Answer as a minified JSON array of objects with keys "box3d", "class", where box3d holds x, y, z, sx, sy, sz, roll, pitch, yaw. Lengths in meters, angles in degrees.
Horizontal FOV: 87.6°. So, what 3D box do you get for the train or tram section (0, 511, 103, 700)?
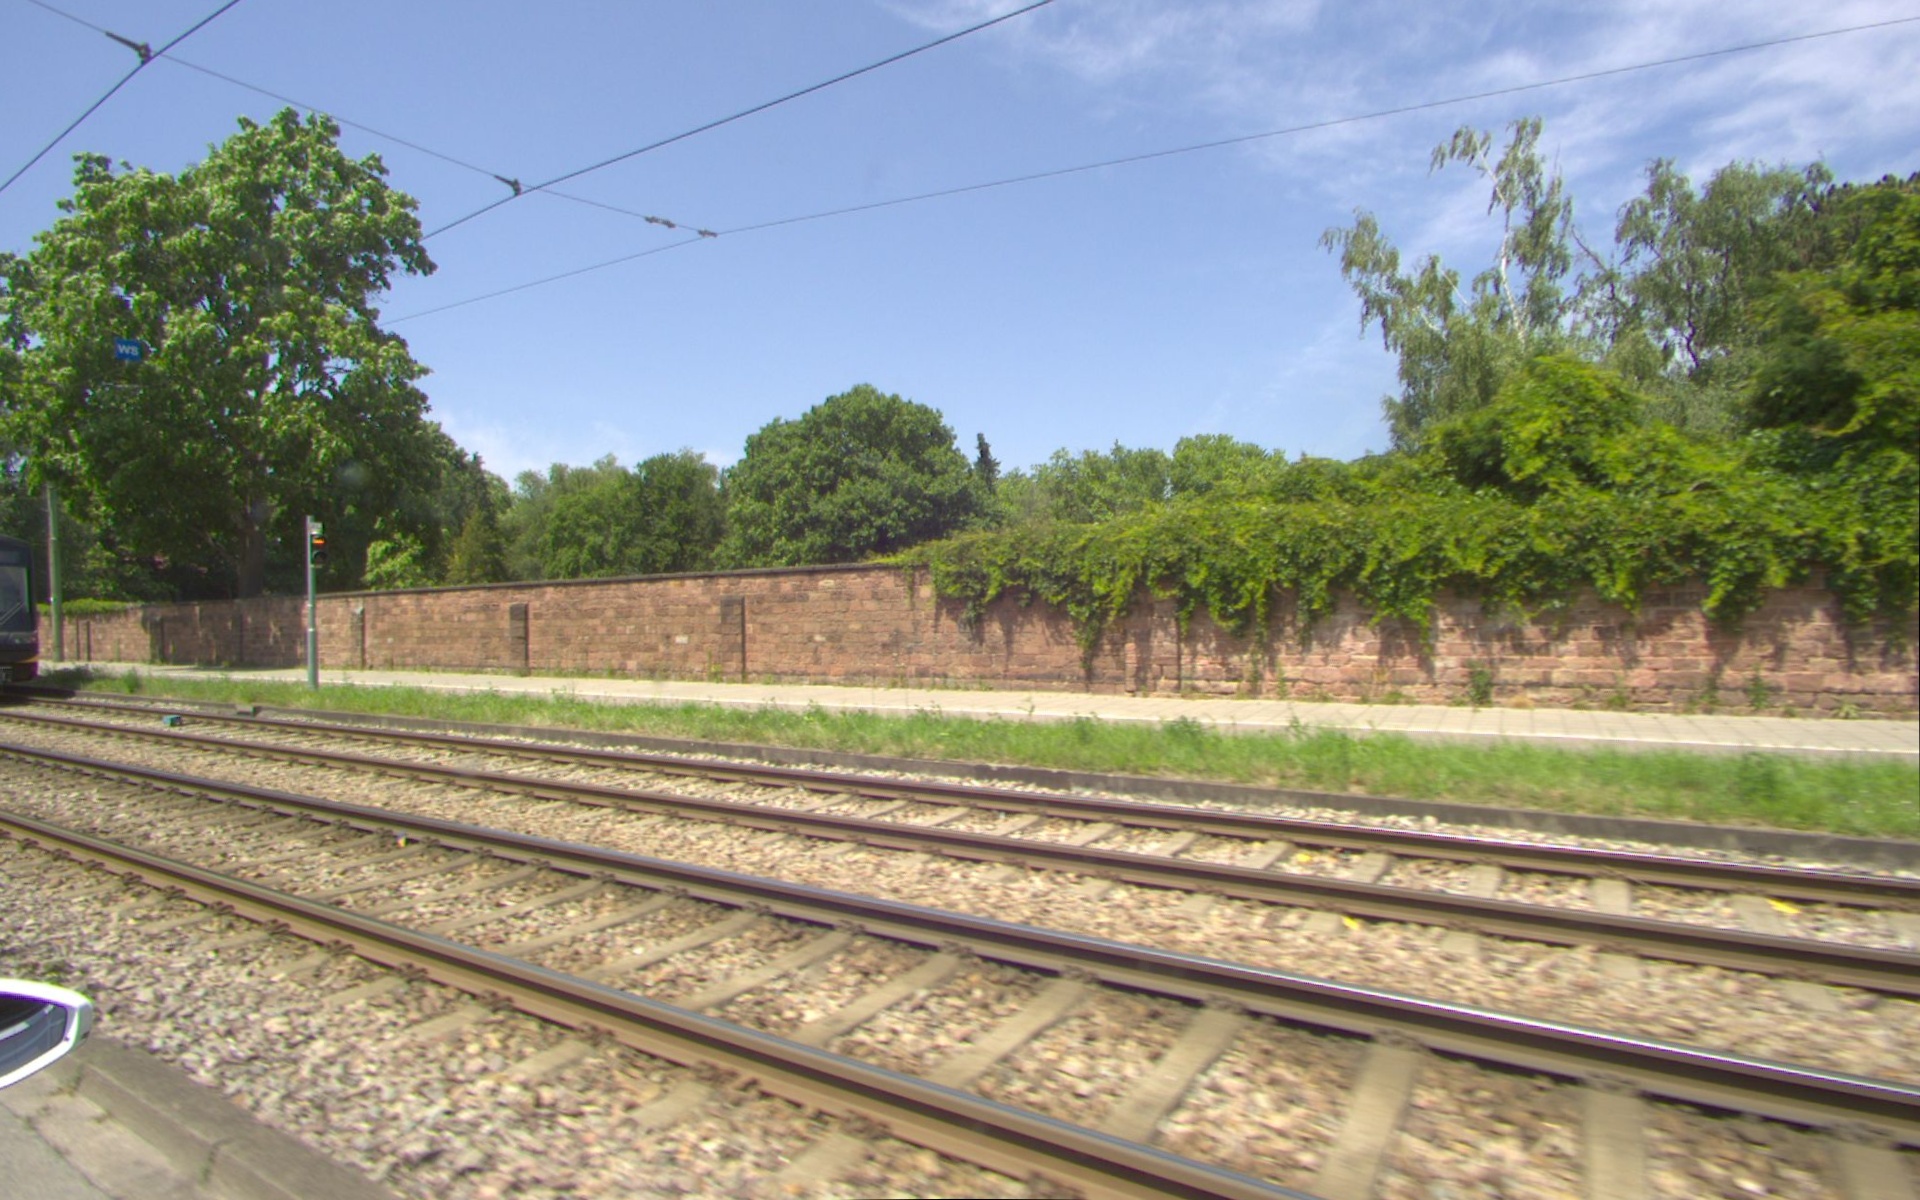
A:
[{"box3d":[-24.828,0.213,23.988,12.905,3.847,3.021,-1,0,33],"class":"train or tram section"}]
